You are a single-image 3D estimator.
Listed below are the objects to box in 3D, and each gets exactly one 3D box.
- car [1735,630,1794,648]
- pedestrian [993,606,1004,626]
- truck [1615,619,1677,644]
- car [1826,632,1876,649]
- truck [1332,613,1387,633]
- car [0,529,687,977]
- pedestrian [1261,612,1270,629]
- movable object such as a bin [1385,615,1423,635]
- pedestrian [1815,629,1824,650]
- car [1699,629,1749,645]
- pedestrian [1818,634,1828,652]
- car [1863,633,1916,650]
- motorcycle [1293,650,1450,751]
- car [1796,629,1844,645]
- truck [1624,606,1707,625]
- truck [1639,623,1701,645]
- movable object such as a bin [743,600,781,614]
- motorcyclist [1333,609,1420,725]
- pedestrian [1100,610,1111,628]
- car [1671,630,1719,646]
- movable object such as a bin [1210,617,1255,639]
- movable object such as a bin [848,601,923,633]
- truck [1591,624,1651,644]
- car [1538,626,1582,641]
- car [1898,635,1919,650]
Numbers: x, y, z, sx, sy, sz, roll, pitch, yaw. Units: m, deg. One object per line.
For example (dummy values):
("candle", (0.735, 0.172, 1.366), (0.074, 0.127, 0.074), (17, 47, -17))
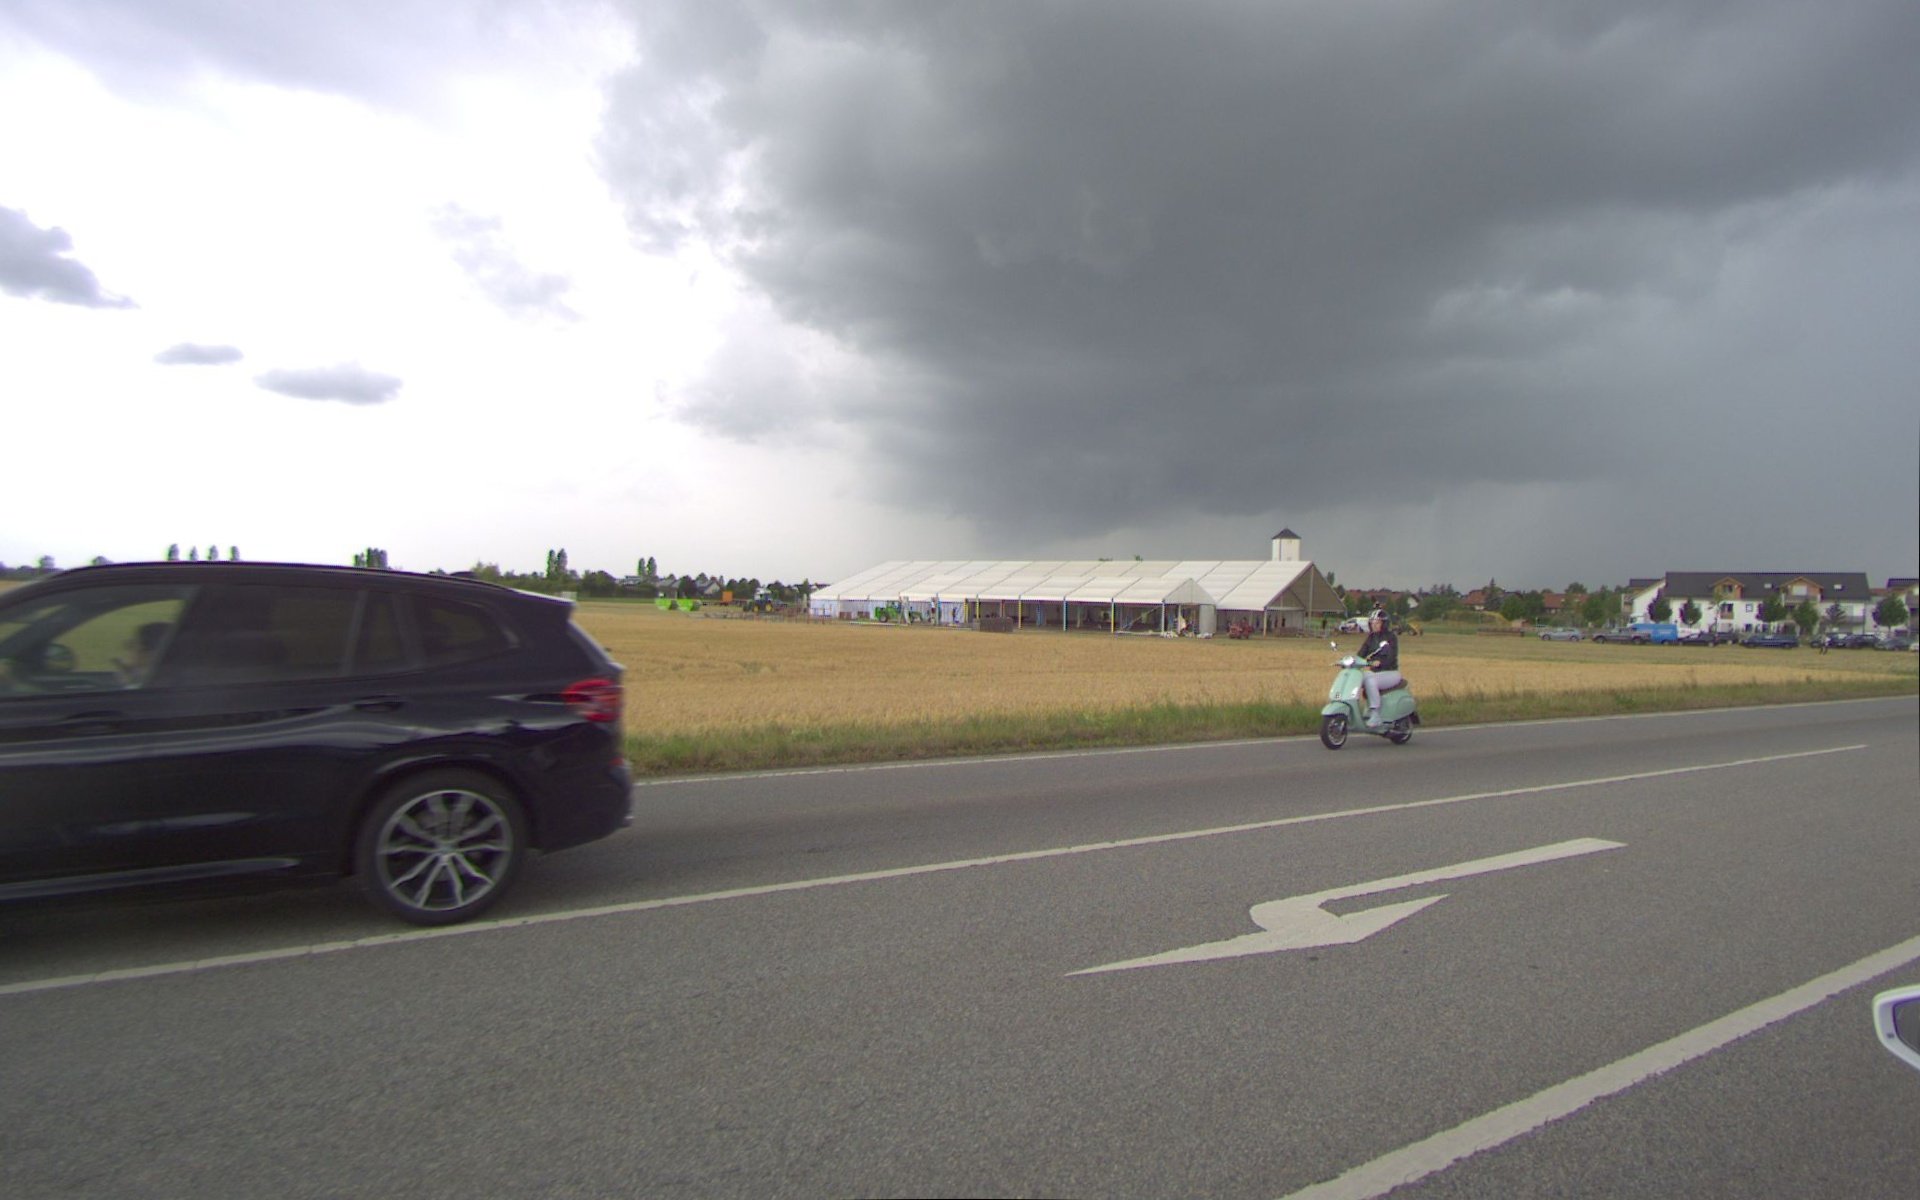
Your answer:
("car", (83.290, 4.048, 104.030), (4.656, 1.719, 1.992), (1, -1, 37))
("pedestrian", (3.861, 1.613, 100.913), (1.006, 2.040, 0.806), (1, 0, -7))
("truck", (73.165, 3.359, 107.208), (5.374, 2.478, 2.387), (1, -1, 35))
("car", (92.383, 4.163, 104.145), (4.141, 1.650, 1.994), (1, -1, -15))
("truck", (49.386, 2.845, 124.180), (5.956, 2.246, 2.715), (1, -1, 30))
("car", (-3.789, 0.607, 4.906), (4.393, 1.716, 1.938), (2, -1, -30))
("pedestrian", (34.285, 2.308, 112.675), (0.718, 1.803, 0.760), (1, 0, -3))
("movable object such as a bin", (52.244, 2.898, 118.245), (3.926, 2.272, 1.882), (1, -1, 30))
("pedestrian", (77.384, 3.570, 90.450), (0.674, 1.809, 0.543), (2, -1, -45))
("car", (88.932, 4.285, 116.977), (4.567, 1.719, 1.992), (1, -1, 37))
("pedestrian", (78.262, 3.912, 91.091), (0.582, 1.576, 0.623), (1, -1, 38))
("car", (93.680, 4.189, 101.233), (4.141, 1.556, 1.994), (1, -1, -15))
("motorcycle", (5.197, 1.220, 12.654), (1.999, 1.164, 0.723), (1, -1, -29))
("car", (92.589, 3.988, 108.164), (4.141, 1.650, 1.994), (1, -1, -15))
("truck", (101.602, 2.181, 144.748), (3.267, 2.563, 9.285), (2, -1, -35))
("truck", (79.056, 3.769, 111.950), (5.490, 2.226, 2.599), (1, -1, 35))
("movable object such as a bin", (-30.647, 1.079, 155.268), (2.526, 2.040, 5.392), (1, 0, 38))
("motorcyclist", (5.254, 0.828, 12.681), (0.799, 1.402, 0.637), (2, -1, -29))
("pedestrian", (16.964, 2.202, 117.167), (0.931, 2.130, 0.859), (2, -1, -34))
("car", (78.581, 4.044, 107.425), (4.102, 1.539, 1.993), (1, -1, 37))
("movable object such as a bin", (24.114, 2.460, 88.688), (2.553, 1.889, 4.461), (1, -1, 34))
("movable object such as a bin", (-8.276, 1.838, 111.374), (7.460, 3.219, 4.143), (2, 0, 37))
("truck", (69.387, 3.578, 105.546), (5.151, 1.946, 2.108), (1, -1, 31))
("car", (66.884, 3.698, 112.028), (4.233, 1.480, 1.888), (1, -1, 31))
("car", (94.803, 4.204, 98.677), (4.141, 1.465, 1.994), (1, -1, -15))
